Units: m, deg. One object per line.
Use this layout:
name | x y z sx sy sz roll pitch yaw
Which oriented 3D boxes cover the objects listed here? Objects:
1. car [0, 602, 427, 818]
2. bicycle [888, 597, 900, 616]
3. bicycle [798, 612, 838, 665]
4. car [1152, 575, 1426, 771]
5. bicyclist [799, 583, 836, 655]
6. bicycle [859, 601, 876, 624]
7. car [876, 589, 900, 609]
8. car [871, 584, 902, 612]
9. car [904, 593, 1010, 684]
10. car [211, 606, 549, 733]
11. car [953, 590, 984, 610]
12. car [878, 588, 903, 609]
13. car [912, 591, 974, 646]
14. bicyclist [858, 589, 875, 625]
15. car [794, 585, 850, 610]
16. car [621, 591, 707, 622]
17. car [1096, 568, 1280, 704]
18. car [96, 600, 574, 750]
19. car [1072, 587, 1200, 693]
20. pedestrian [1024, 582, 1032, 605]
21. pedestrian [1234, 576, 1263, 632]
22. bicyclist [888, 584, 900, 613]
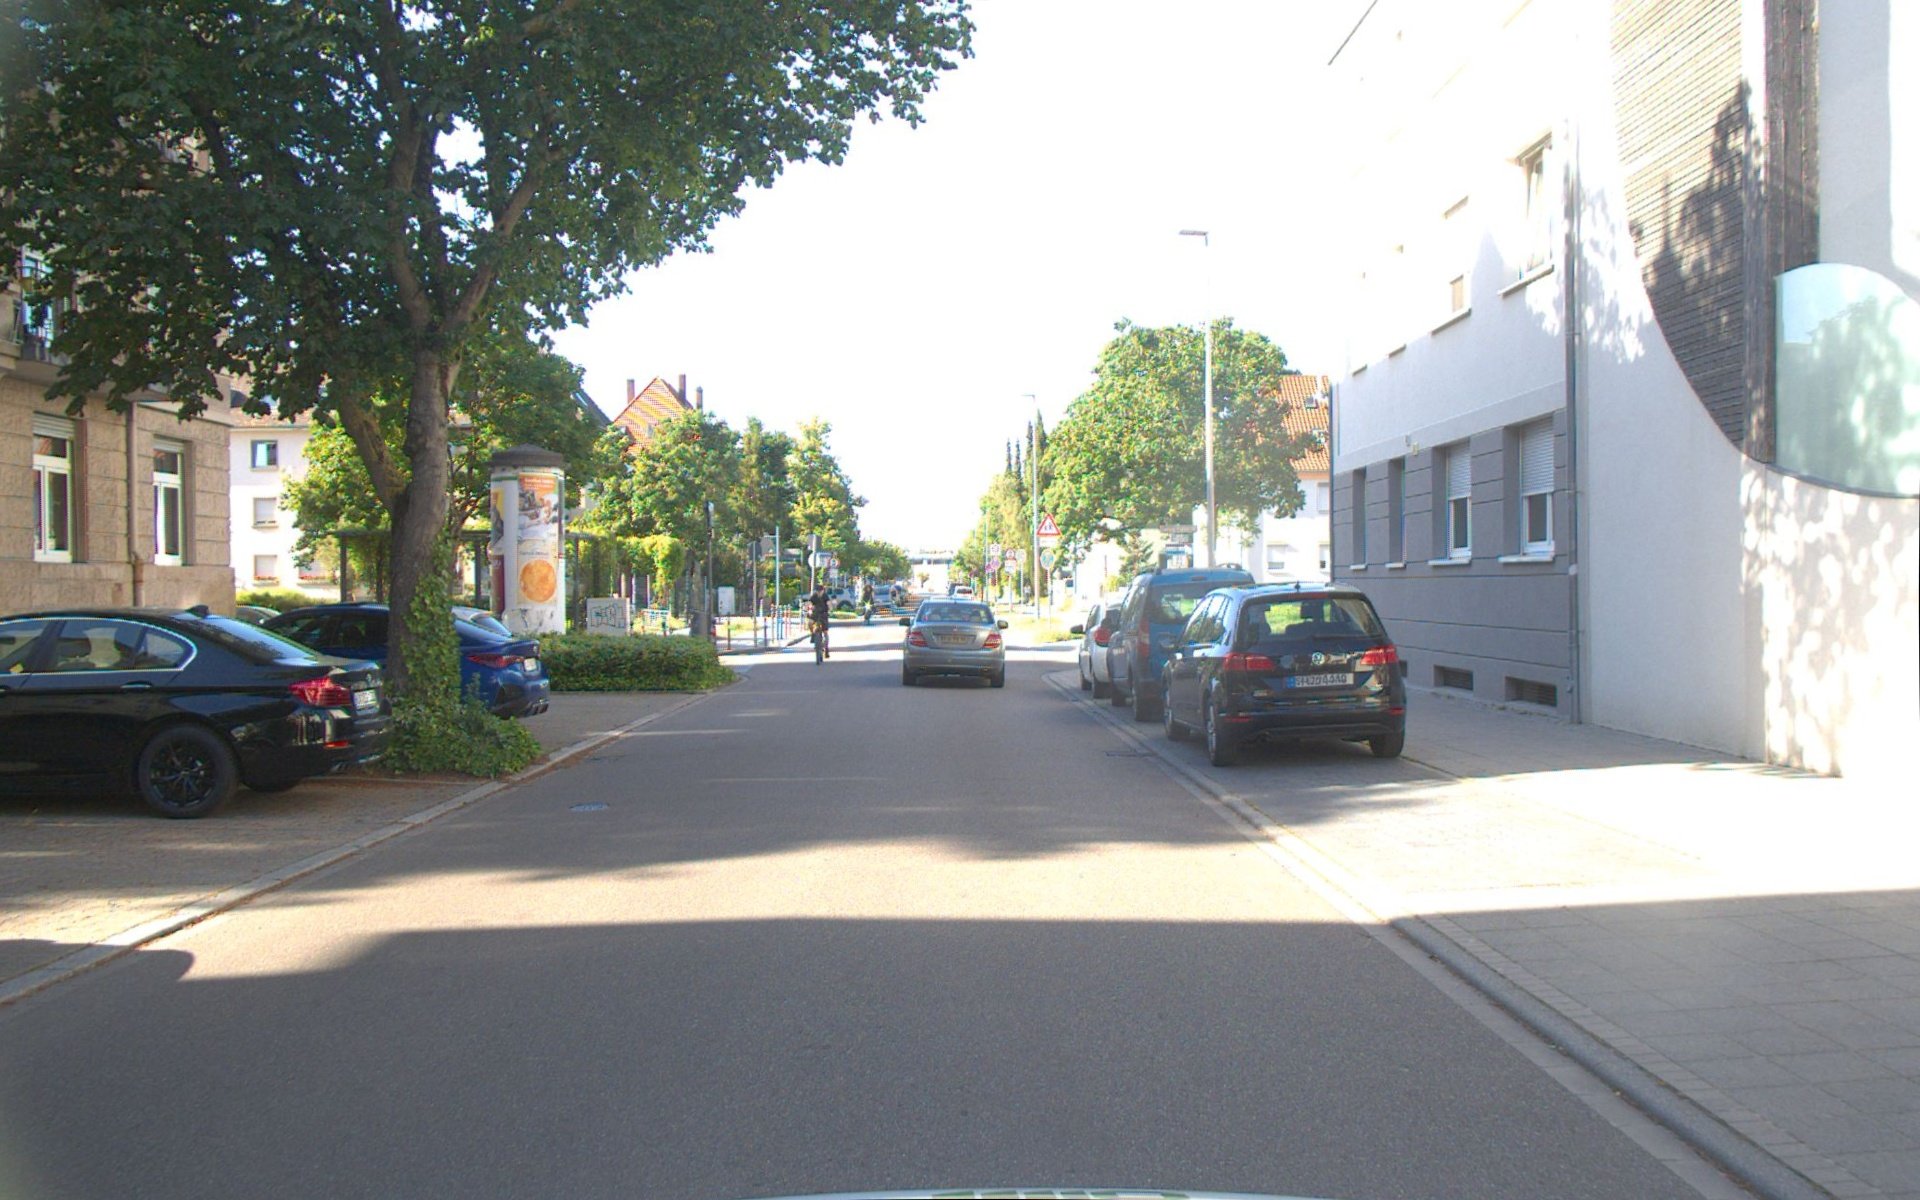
car | -6.524 0.782 12.487 4.384 1.505 1.867 0 -1 -3
bicycle | -3.498 0.336 87.801 0.577 0.948 1.850 -1 0 0
bicycle | -3.149 0.836 36.708 0.705 1.098 1.890 -1 0 0
car | 3.019 0.601 16.049 1.702 1.558 4.178 -3 0 -1
bicyclist | -3.167 0.406 36.852 0.706 1.563 1.137 -1 0 -1
bicycle | -3.990 0.532 71.458 0.577 0.948 1.850 -1 0 0
car | -5.743 -0.073 131.898 1.752 1.559 3.996 0 0 -5
car | -4.808 -0.125 108.313 1.836 1.758 3.996 -1 1 -5
car | -0.041 0.657 28.891 1.691 1.445 3.960 1 -1 0
car | -6.962 0.808 20.123 3.507 1.455 1.730 0 0 -1
car | 0.546 -0.008 110.809 1.689 1.353 3.996 0 0 -5
car | -5.327 -0.095 126.679 1.752 1.559 3.996 0 0 -5
car | -0.510 0.523 47.200 1.672 1.473 4.201 1 -1 -2
bicyclist | -4.022 0.299 71.496 0.666 1.535 0.655 -1 0 0
car | -8.595 -0.167 102.923 3.427 1.560 1.642 0 0 -8
car | -14.472 0.335 80.935 3.908 1.400 1.998 1 -1 -4
car | 2.858 0.457 21.557 1.648 1.460 4.265 -5 -1 -1
car | -6.524 0.777 17.680 4.384 1.505 1.867 0 -1 -3
car | 2.716 0.610 26.197 1.532 1.435 3.729 -5 -1 0
pedestrian | 4.777 -0.450 116.498 0.499 1.586 0.643 1 -1 0
pedestrian | 8.620 0.111 49.382 0.635 1.651 0.615 -1 0 37
bicyclist | -3.488 -0.074 87.806 0.560 1.535 0.655 -1 0 0
